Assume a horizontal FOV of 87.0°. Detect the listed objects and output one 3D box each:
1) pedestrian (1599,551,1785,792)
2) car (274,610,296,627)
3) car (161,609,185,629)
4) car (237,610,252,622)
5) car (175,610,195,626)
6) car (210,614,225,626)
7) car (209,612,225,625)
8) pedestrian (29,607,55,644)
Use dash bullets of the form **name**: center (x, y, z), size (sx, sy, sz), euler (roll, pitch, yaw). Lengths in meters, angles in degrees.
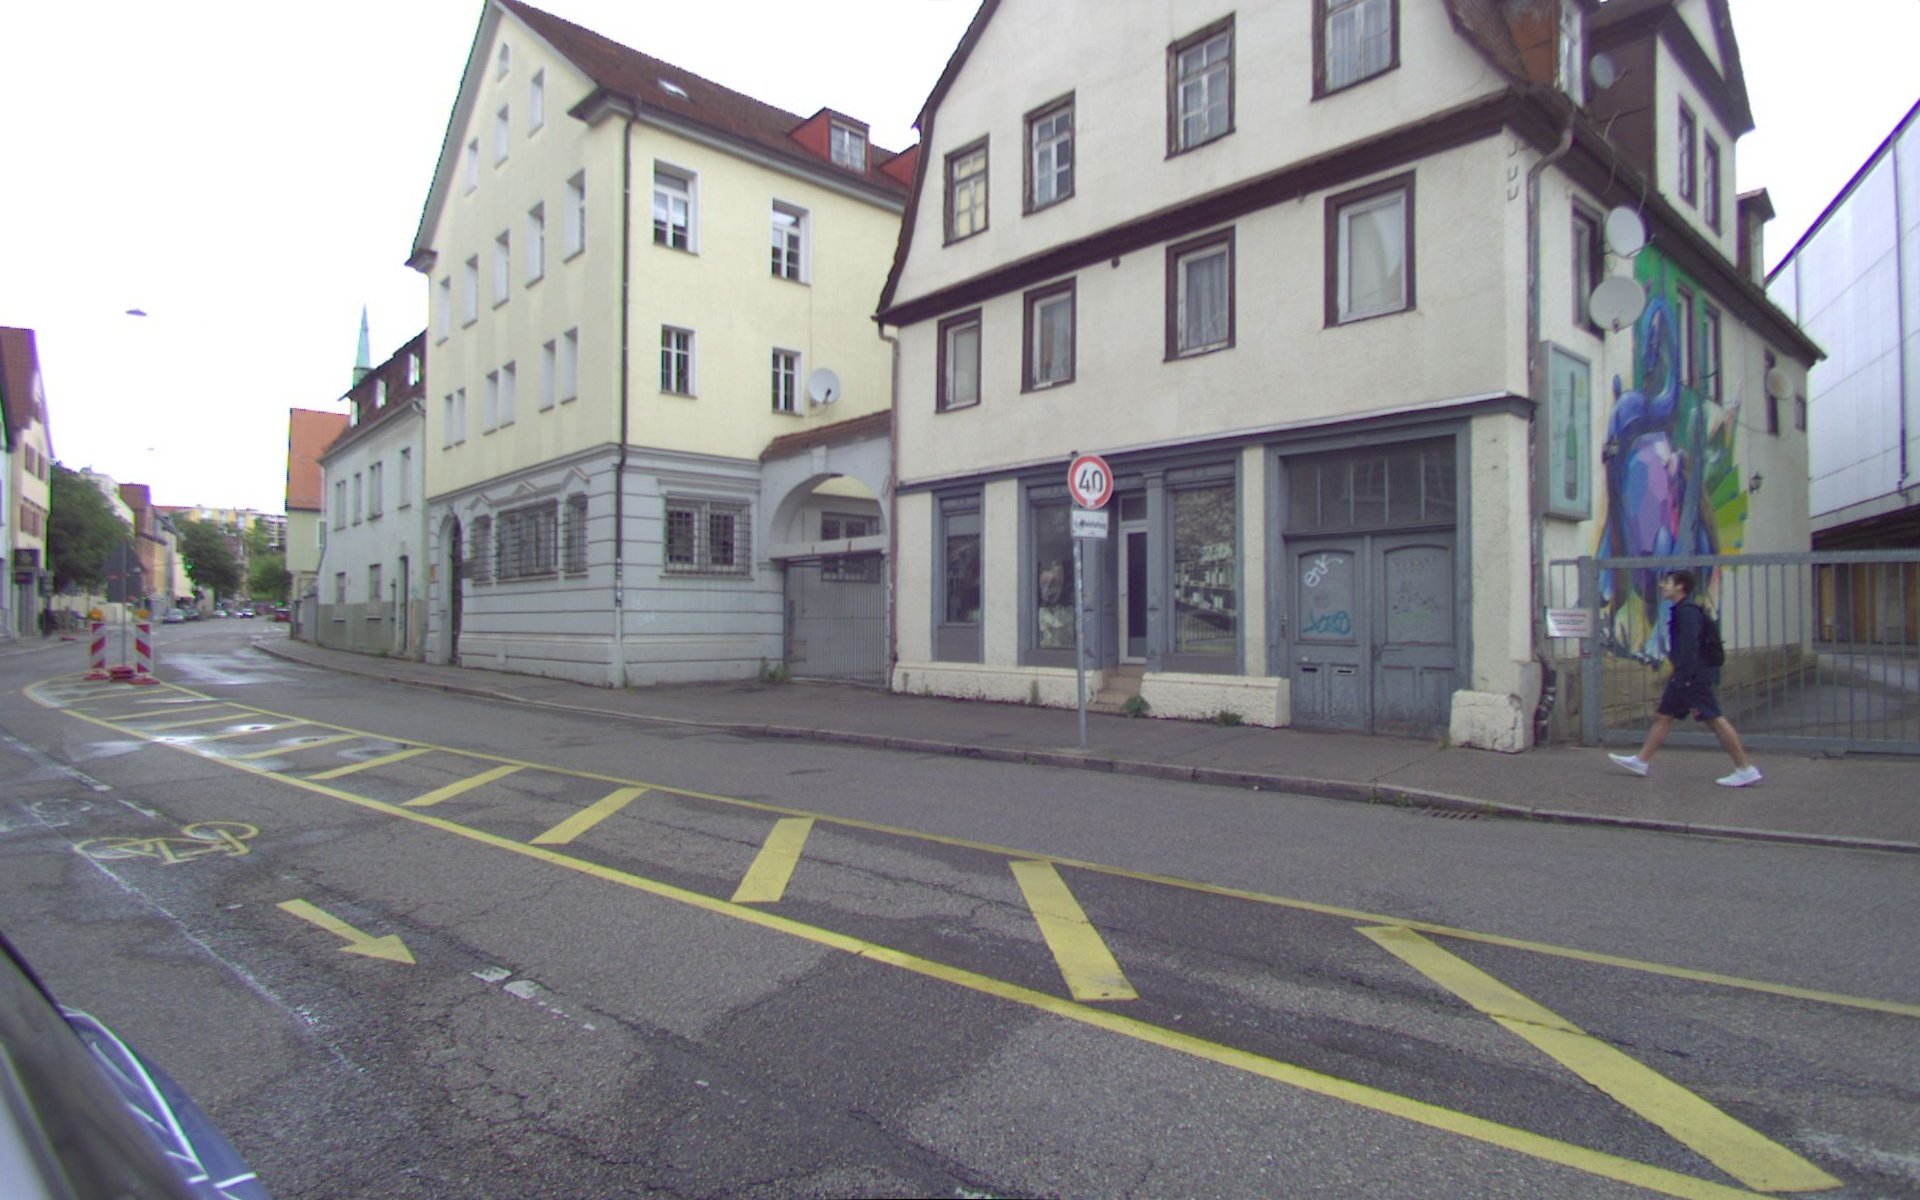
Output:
- **pedestrian**: center (6.317, 0.579, 8.741), size (1.092, 1.900, 1.042), euler (-4, -2, 44)
- **car**: center (-85.651, 2.347, 128.376), size (2.027, 2.029, 4.009), euler (1, -2, -37)
- **car**: center (-84.783, 2.075, 109.061), size (1.967, 2.029, 4.009), euler (1, -2, -37)
- **car**: center (-124.023, 2.850, 175.377), size (1.967, 2.029, 4.009), euler (1, -2, -37)
- **car**: center (-97.056, 2.265, 126.755), size (1.967, 2.029, 4.009), euler (1, -2, -37)
- **car**: center (-123.496, 3.345, 168.317), size (1.967, 2.029, 4.009), euler (1, -2, -37)
- **car**: center (-114.752, 2.881, 156.245), size (1.967, 2.029, 4.009), euler (1, -2, -37)
- **pedestrian**: center (-47.823, 1.317, 52.719), size (0.864, 1.914, 0.899), euler (1, -2, -36)
